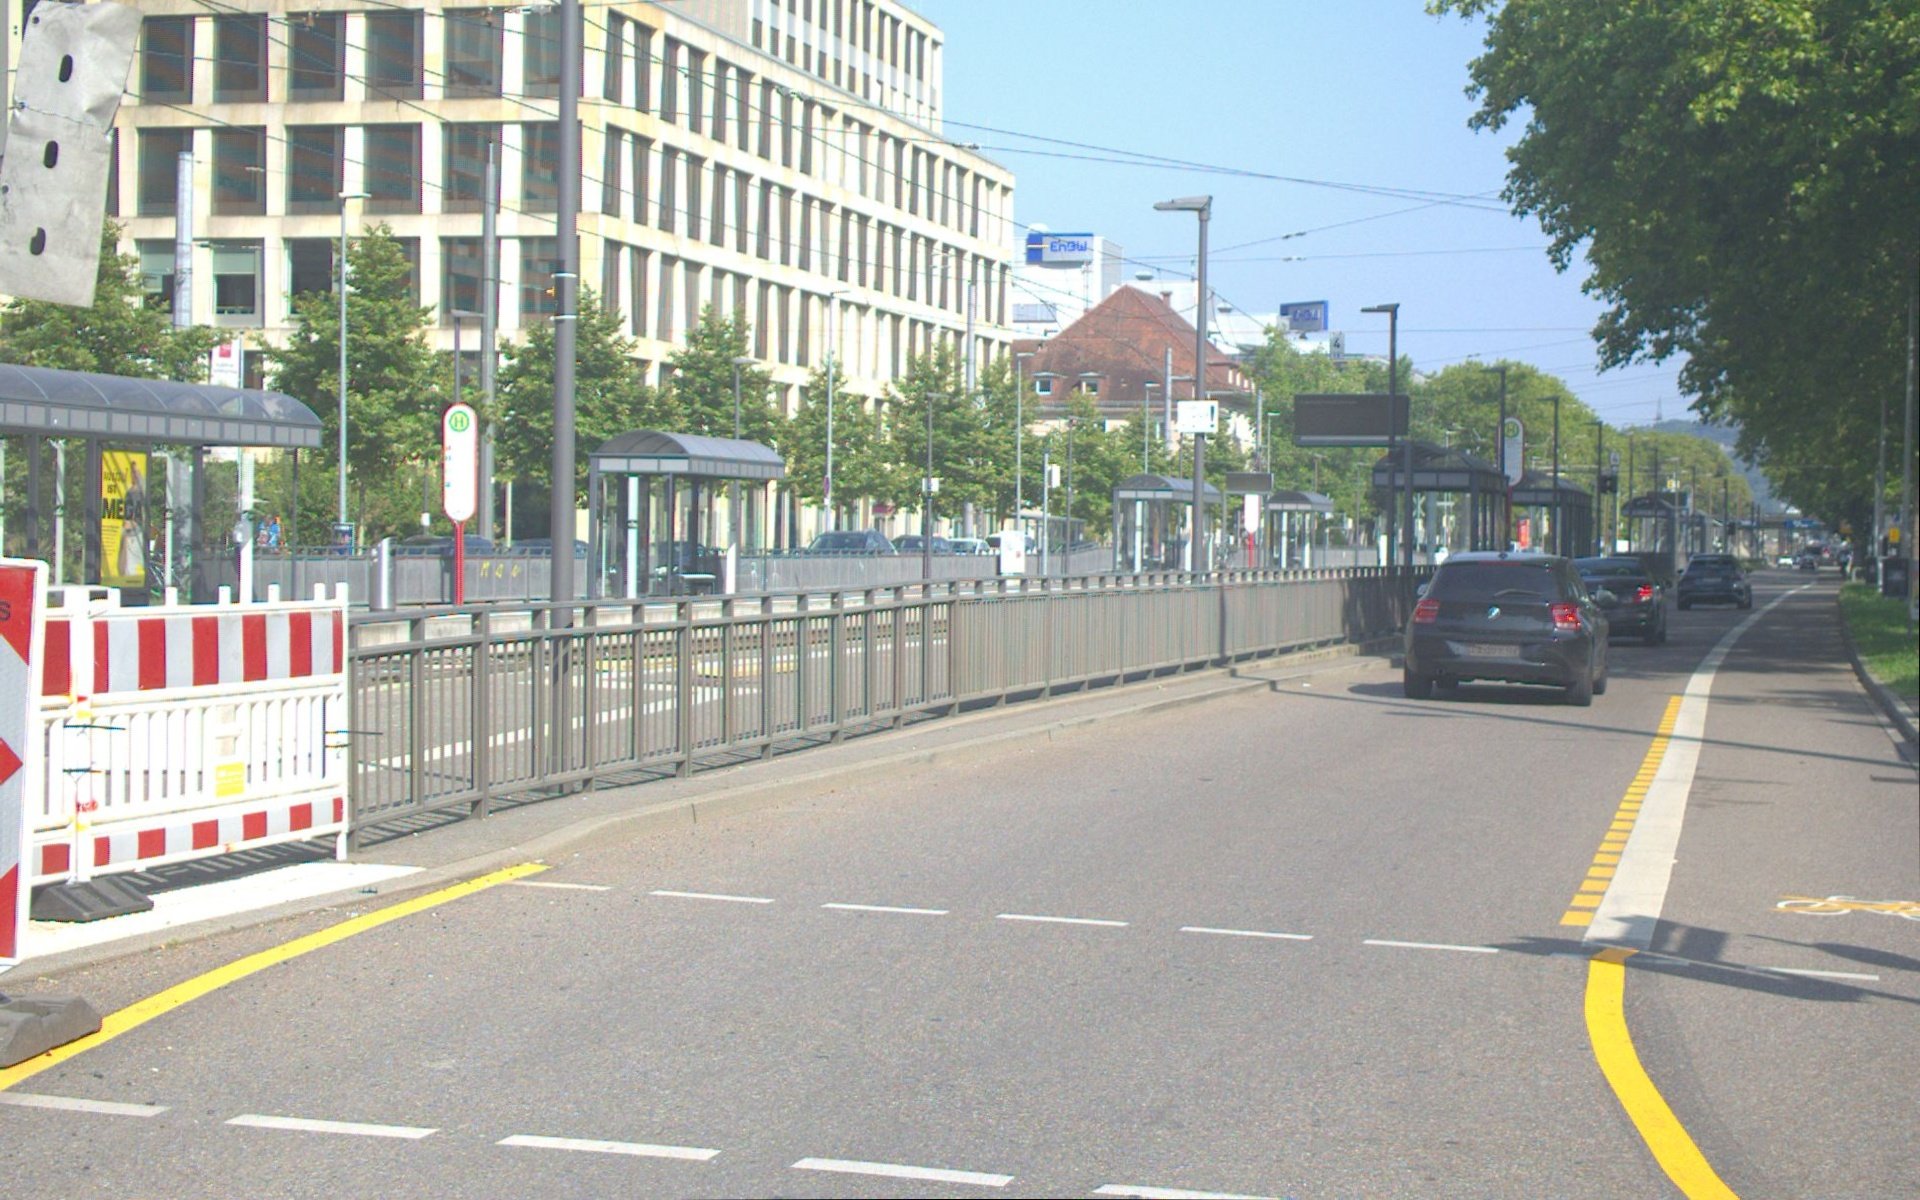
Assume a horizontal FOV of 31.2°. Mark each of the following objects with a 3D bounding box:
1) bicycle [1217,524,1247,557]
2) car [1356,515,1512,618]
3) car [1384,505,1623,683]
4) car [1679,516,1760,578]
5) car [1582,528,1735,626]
[{"bbox_3d":[9.570,-2.080,120.876,0.472,1.143,1.481,2,1,29],"label":"bicycle"},{"bbox_3d":[7.736,-0.557,55.784,1.995,1.554,3.997,2,1,15],"label":"car"},{"bbox_3d":[5.414,-0.102,33.873,1.908,1.532,3.998,4,2,14],"label":"car"},{"bbox_3d":[19.794,-1.373,89.499,1.908,1.532,3.998,2,1,14],"label":"car"},{"bbox_3d":[11.053,-0.388,54.235,1.995,1.436,3.997,2,1,16],"label":"car"}]
